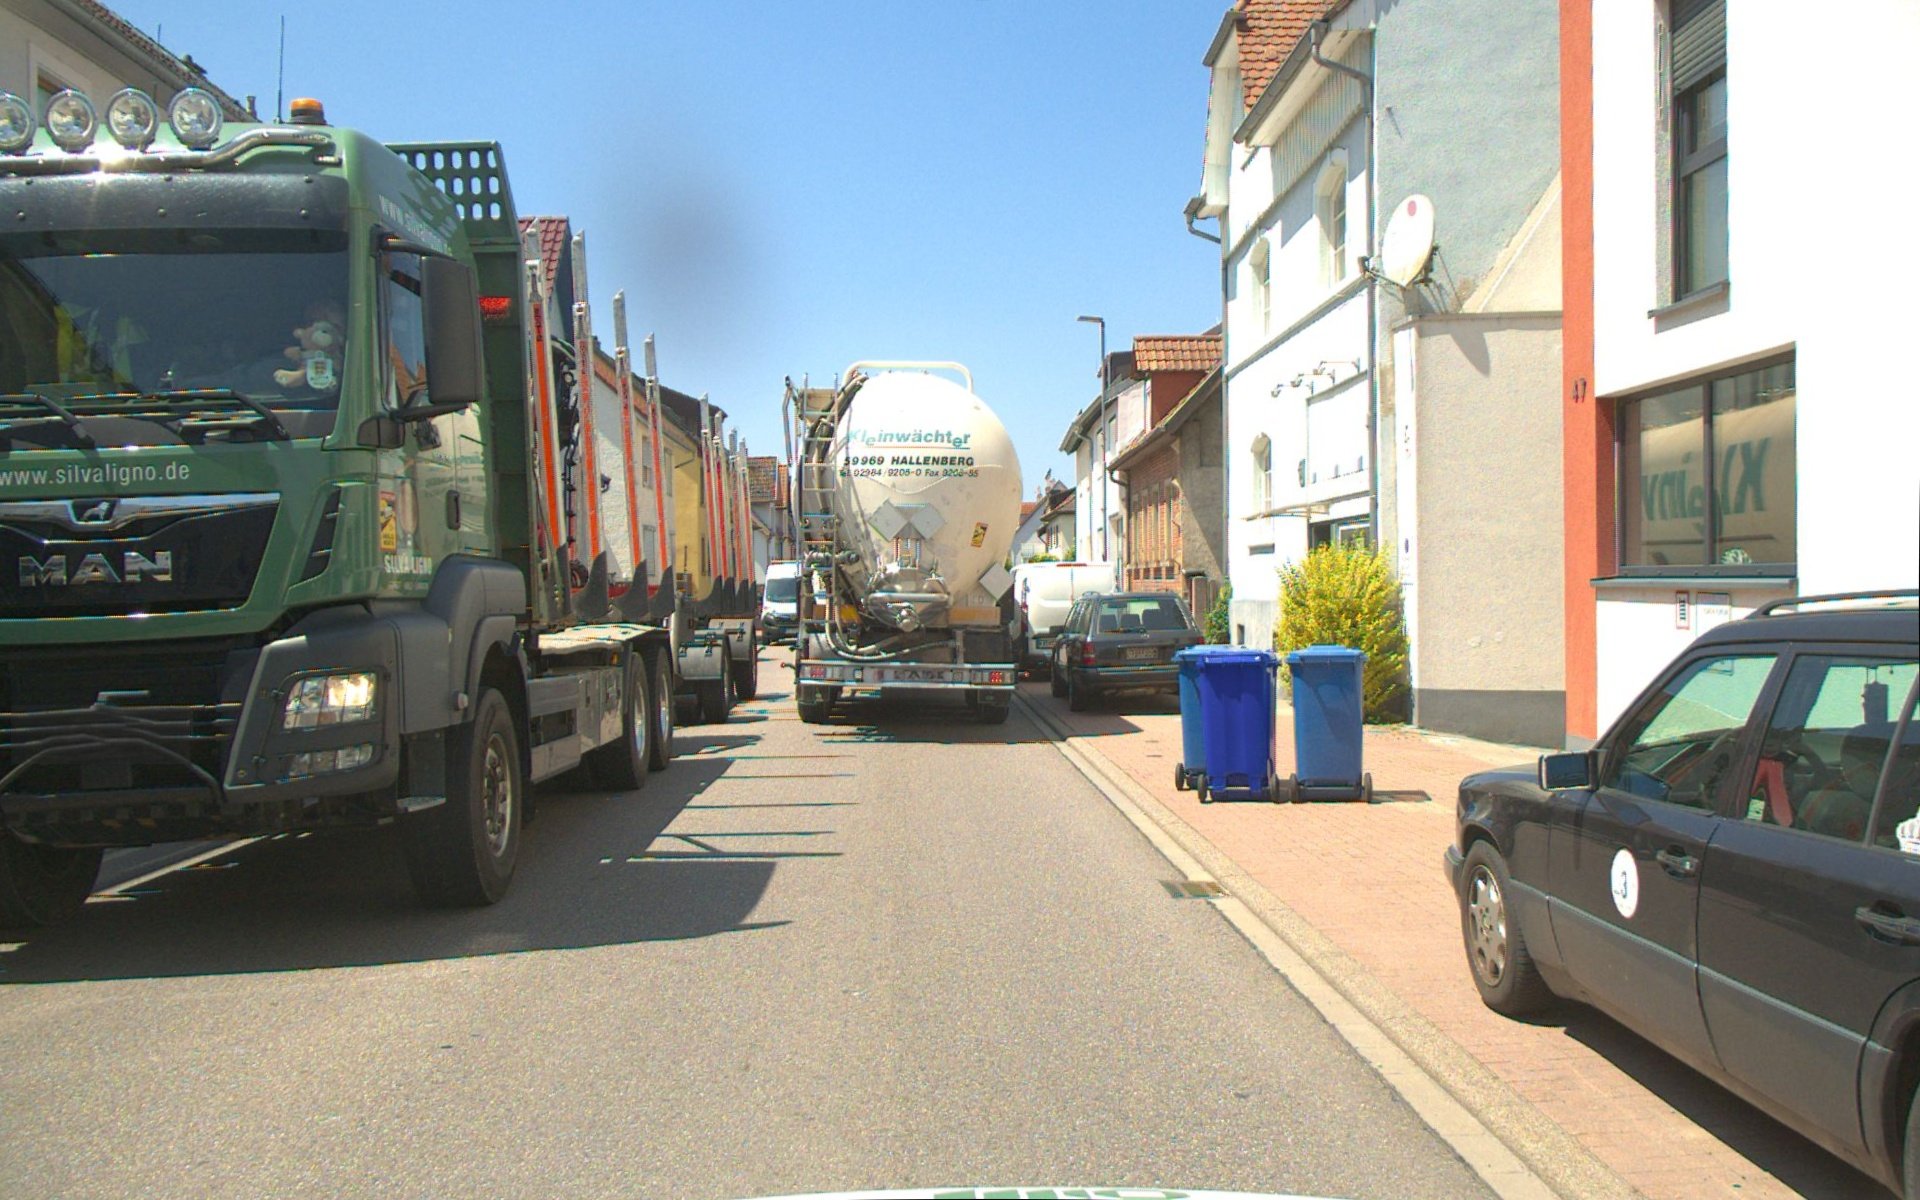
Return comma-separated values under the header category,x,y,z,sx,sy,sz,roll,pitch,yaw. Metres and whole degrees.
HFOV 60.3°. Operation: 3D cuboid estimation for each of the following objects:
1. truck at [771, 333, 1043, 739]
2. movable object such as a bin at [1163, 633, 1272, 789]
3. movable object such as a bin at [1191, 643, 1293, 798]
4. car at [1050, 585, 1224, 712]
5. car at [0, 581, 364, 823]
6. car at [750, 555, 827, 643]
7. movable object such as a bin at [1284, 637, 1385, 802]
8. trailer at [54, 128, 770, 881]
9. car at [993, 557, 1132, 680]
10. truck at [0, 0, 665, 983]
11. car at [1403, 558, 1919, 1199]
category,x,y,z,sx,sy,sz,roll,pitch,yaw
truck,-0.668,-0.629,20.610,2.677,4.029,8.138,1,0,-2
movable object such as a bin,1.977,0.828,12.612,0.707,1.092,0.973,-2,0,14
movable object such as a bin,2.038,0.856,11.907,0.641,1.053,0.685,-2,0,14
car,2.238,0.558,22.021,1.734,1.491,4.577,-1,0,-1
car,-6.537,0.677,13.456,1.772,1.584,4.563,2,0,-2
car,-5.363,-0.066,52.348,2.083,2.586,5.458,-1,1,-3
movable object such as a bin,2.646,0.826,11.661,0.640,1.078,0.836,-2,0,14
trailer,-3.888,-0.569,16.898,2.578,4.048,15.691,-2,0,-2
car,1.759,0.289,29.917,1.907,2.005,4.782,-1,0,-3
truck,-3.610,-0.542,9.954,2.566,4.055,6.849,-2,0,-2
car,2.705,0.636,4.234,1.666,1.472,4.835,-3,0,-2
